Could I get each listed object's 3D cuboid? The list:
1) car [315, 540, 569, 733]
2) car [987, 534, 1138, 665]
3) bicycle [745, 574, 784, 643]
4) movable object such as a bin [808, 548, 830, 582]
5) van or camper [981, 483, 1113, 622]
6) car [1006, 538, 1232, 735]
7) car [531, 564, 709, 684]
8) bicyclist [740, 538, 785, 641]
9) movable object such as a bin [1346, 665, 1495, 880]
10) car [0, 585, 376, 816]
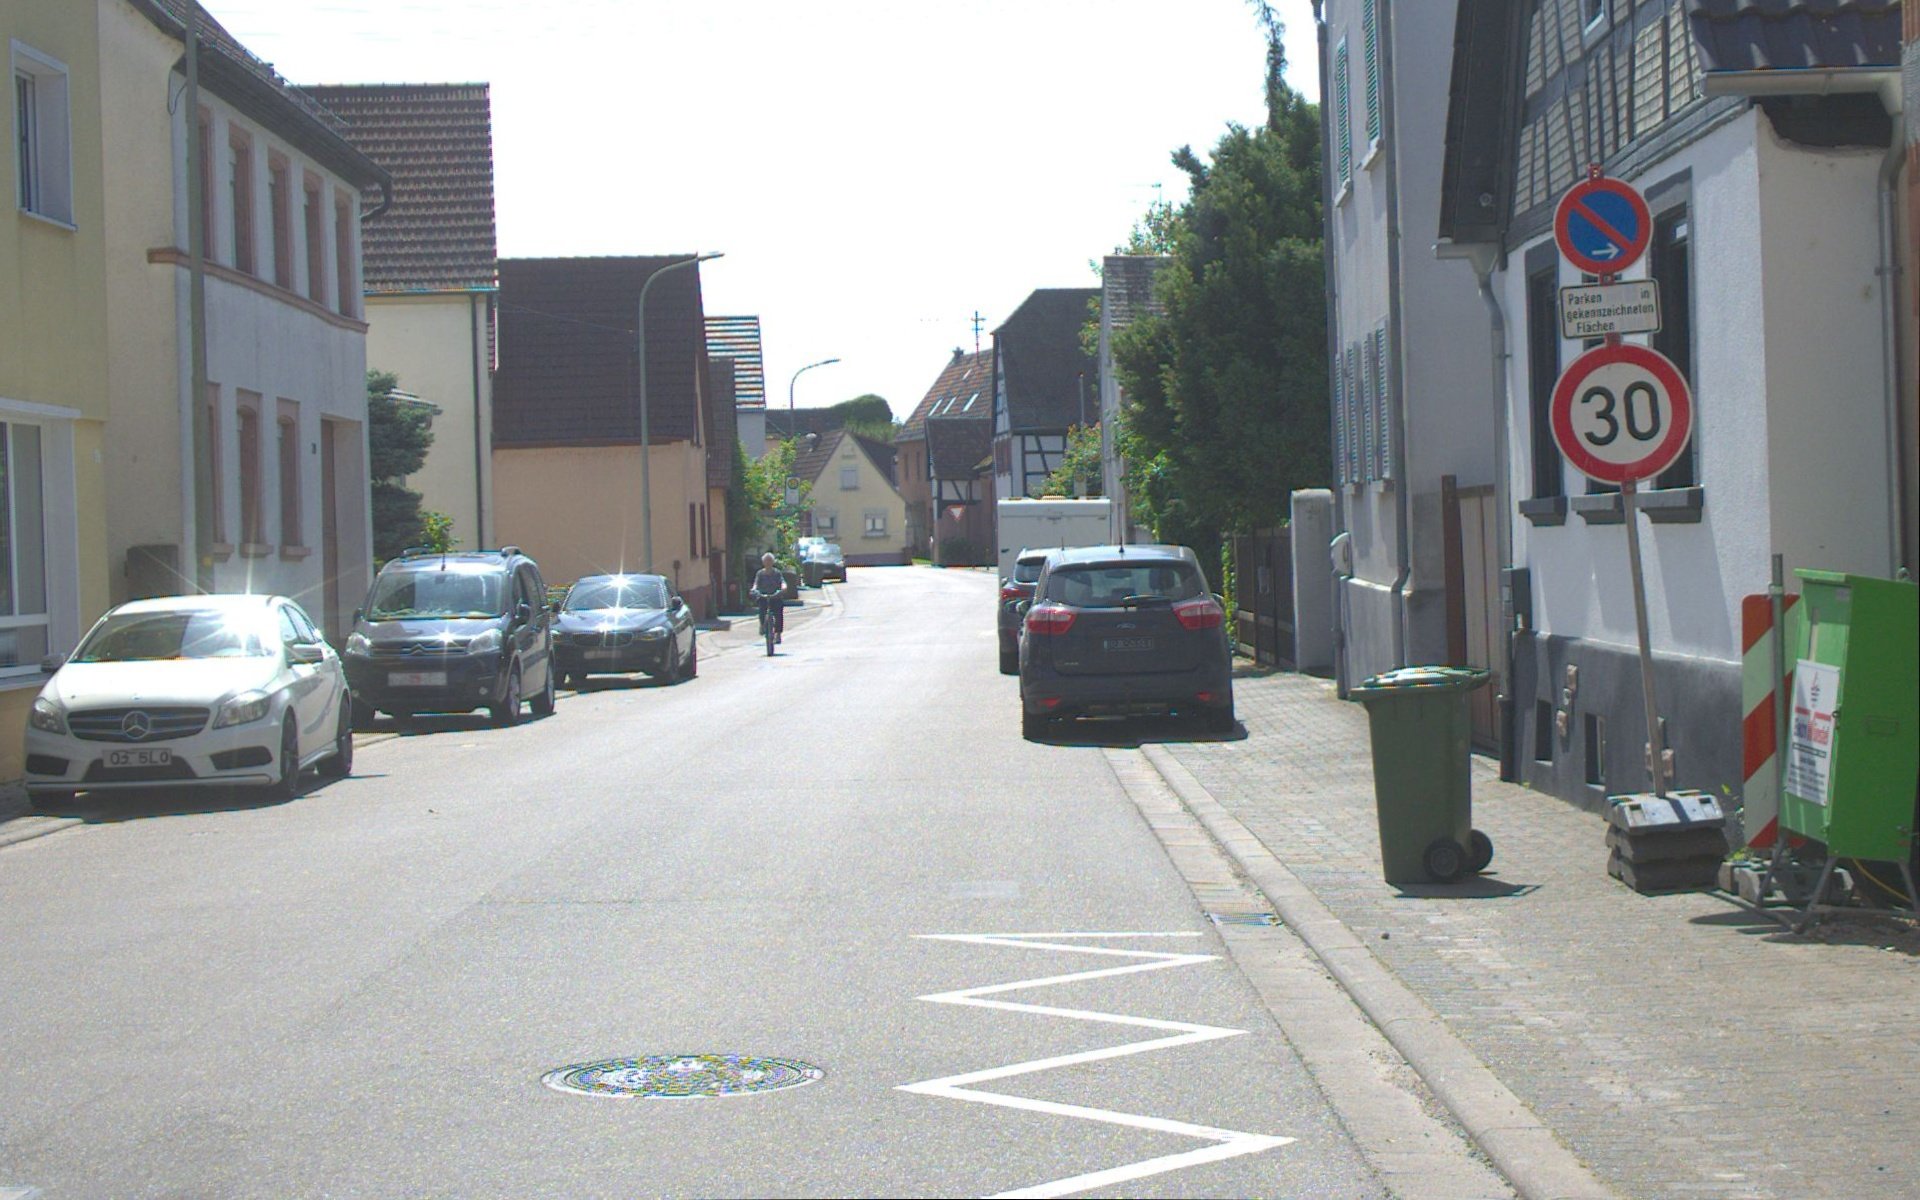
[{"bbox_3d":[-5.396,0.329,36.353,1.835,1.831,4.353,-3,1,2],"label":"car"},{"bbox_3d":[1.441,-0.045,46.866,1.794,1.625,4.360,-2,1,4],"label":"car"},{"bbox_3d":[-3.420,0.143,60.234,0.589,1.144,1.949,-3,1,-2],"label":"bicycle"},{"bbox_3d":[-5.013,-1.234,121.921,0.688,1.181,0.714,-3,1,1],"label":"movable object such as a bin"},{"bbox_3d":[1.746,-0.990,70.910,2.521,2.687,4.555,-2,1,0],"label":"van or camper"},{"bbox_3d":[1.367,0.264,30.533,1.797,1.555,4.631,-2,1,2],"label":"car"},{"bbox_3d":[-4.696,0.301,48.087,1.844,1.521,4.765,-2,1,2],"label":"car"},{"bbox_3d":[-3.456,-0.192,60.199,0.703,1.765,0.625,-3,1,-3],"label":"bicyclist"},{"bbox_3d":[2.047,0.761,15.265,0.538,0.910,0.551,-2,1,18],"label":"movable object such as a bin"},{"bbox_3d":[-5.564,0.663,25.006,1.834,1.459,4.271,-1,1,1],"label":"car"}]
